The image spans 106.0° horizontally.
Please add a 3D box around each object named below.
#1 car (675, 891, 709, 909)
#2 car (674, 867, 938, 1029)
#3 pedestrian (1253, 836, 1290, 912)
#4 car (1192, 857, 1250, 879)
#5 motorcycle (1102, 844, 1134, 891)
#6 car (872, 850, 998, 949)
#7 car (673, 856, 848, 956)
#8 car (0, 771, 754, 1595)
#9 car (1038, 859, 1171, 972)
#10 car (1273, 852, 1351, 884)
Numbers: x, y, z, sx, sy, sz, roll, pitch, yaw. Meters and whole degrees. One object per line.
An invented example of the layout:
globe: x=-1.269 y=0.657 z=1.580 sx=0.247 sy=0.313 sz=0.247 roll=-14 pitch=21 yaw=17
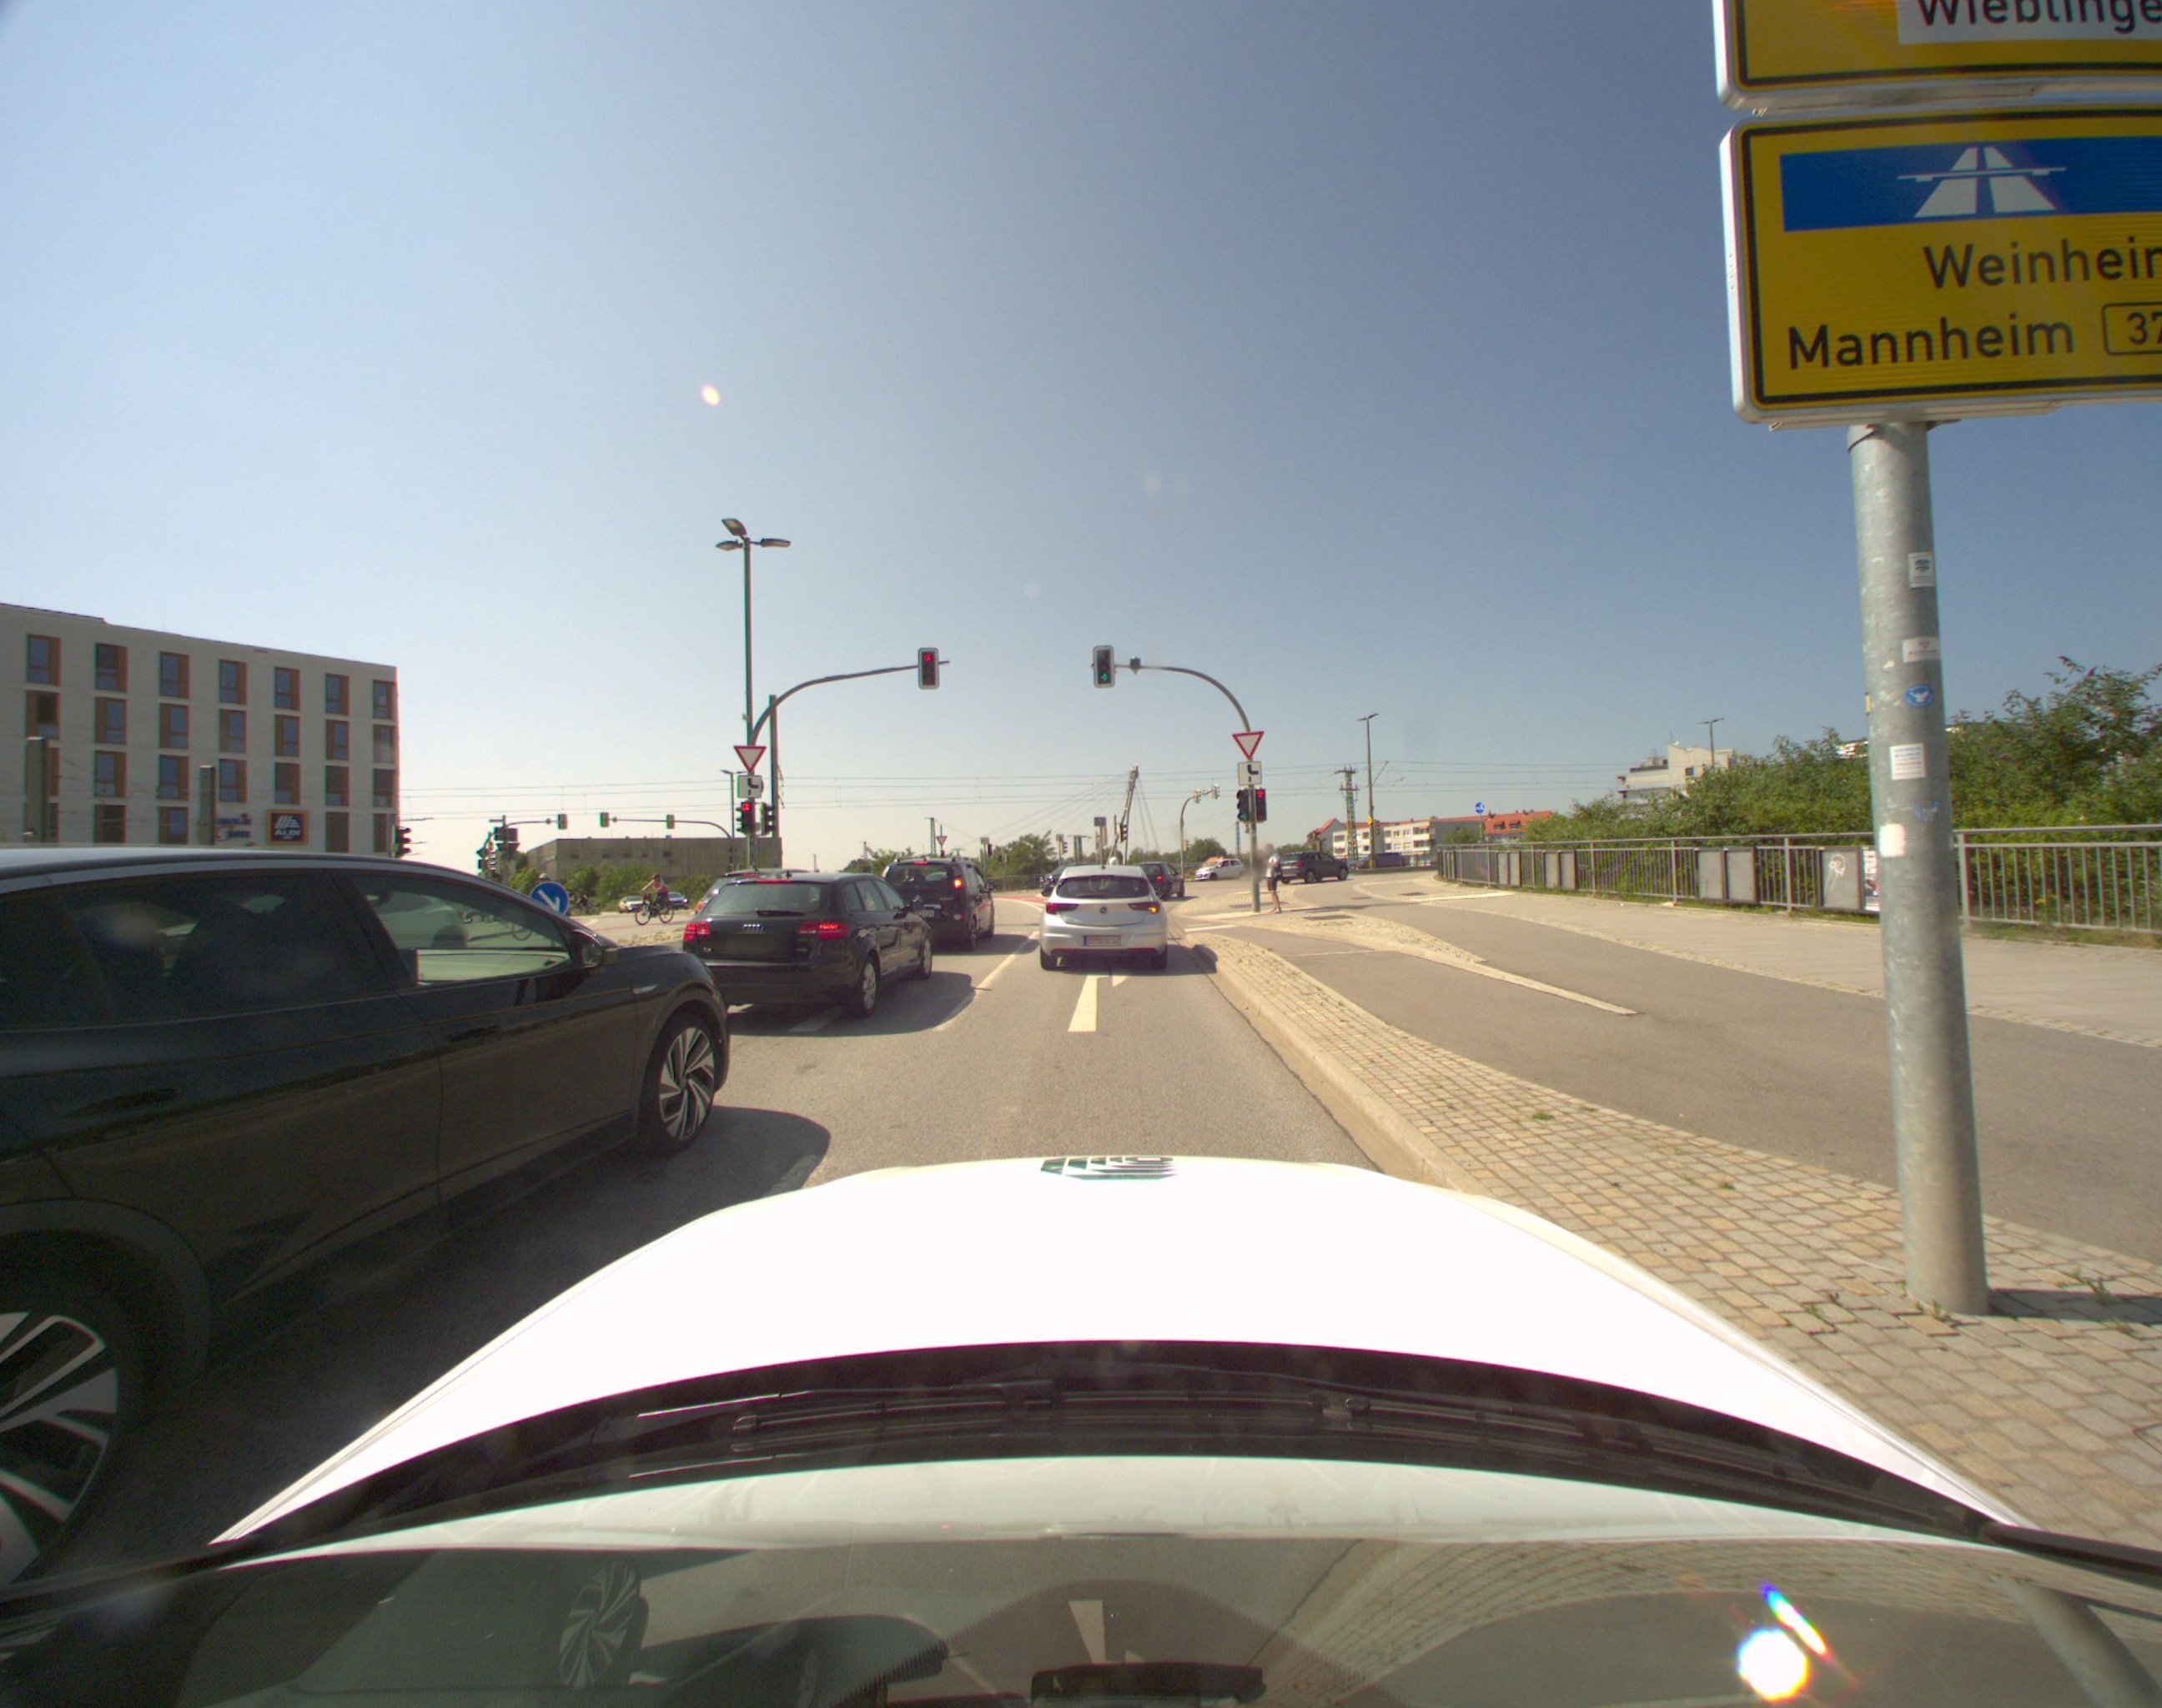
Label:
car: x=-32.046 y=3.771 z=67.025 sx=1.831 sy=1.331 sz=3.955 roll=1 pitch=-3 yaw=-37
car: x=-2.778 y=0.865 z=9.139 sx=1.569 sy=1.434 sz=3.787 roll=0 pitch=-1 yaw=2
pedestrian: x=4.781 y=0.498 z=20.482 sx=0.645 sy=1.836 sz=0.798 roll=-3 pitch=-1 yaw=0
car: x=9.797 y=0.964 z=57.014 sx=3.641 sy=1.486 sz=1.677 roll=0 pitch=-1 yaw=-24
motorcycle: x=0.919 y=0.367 z=20.630 sx=0.500 sy=1.013 sz=2.172 roll=-10 pitch=-4 yaw=-1
car: x=-2.581 y=0.769 z=15.243 sx=1.644 sy=1.615 sz=3.820 roll=0 pitch=-1 yaw=0
car: x=-5.508 y=0.836 z=14.505 sx=1.592 sy=1.547 sz=3.762 roll=0 pitch=-1 yaw=0
car: x=-2.997 y=0.677 z=2.817 sx=1.794 sy=1.641 sz=4.368 roll=0 pitch=-1 yaw=2
car: x=0.316 y=0.834 z=12.691 sx=1.737 sy=1.478 sz=3.999 roll=0 pitch=-1 yaw=0
car: x=11.849 y=0.697 z=41.693 sx=4.018 sy=1.564 sz=1.710 roll=0 pitch=0 yaw=-36
